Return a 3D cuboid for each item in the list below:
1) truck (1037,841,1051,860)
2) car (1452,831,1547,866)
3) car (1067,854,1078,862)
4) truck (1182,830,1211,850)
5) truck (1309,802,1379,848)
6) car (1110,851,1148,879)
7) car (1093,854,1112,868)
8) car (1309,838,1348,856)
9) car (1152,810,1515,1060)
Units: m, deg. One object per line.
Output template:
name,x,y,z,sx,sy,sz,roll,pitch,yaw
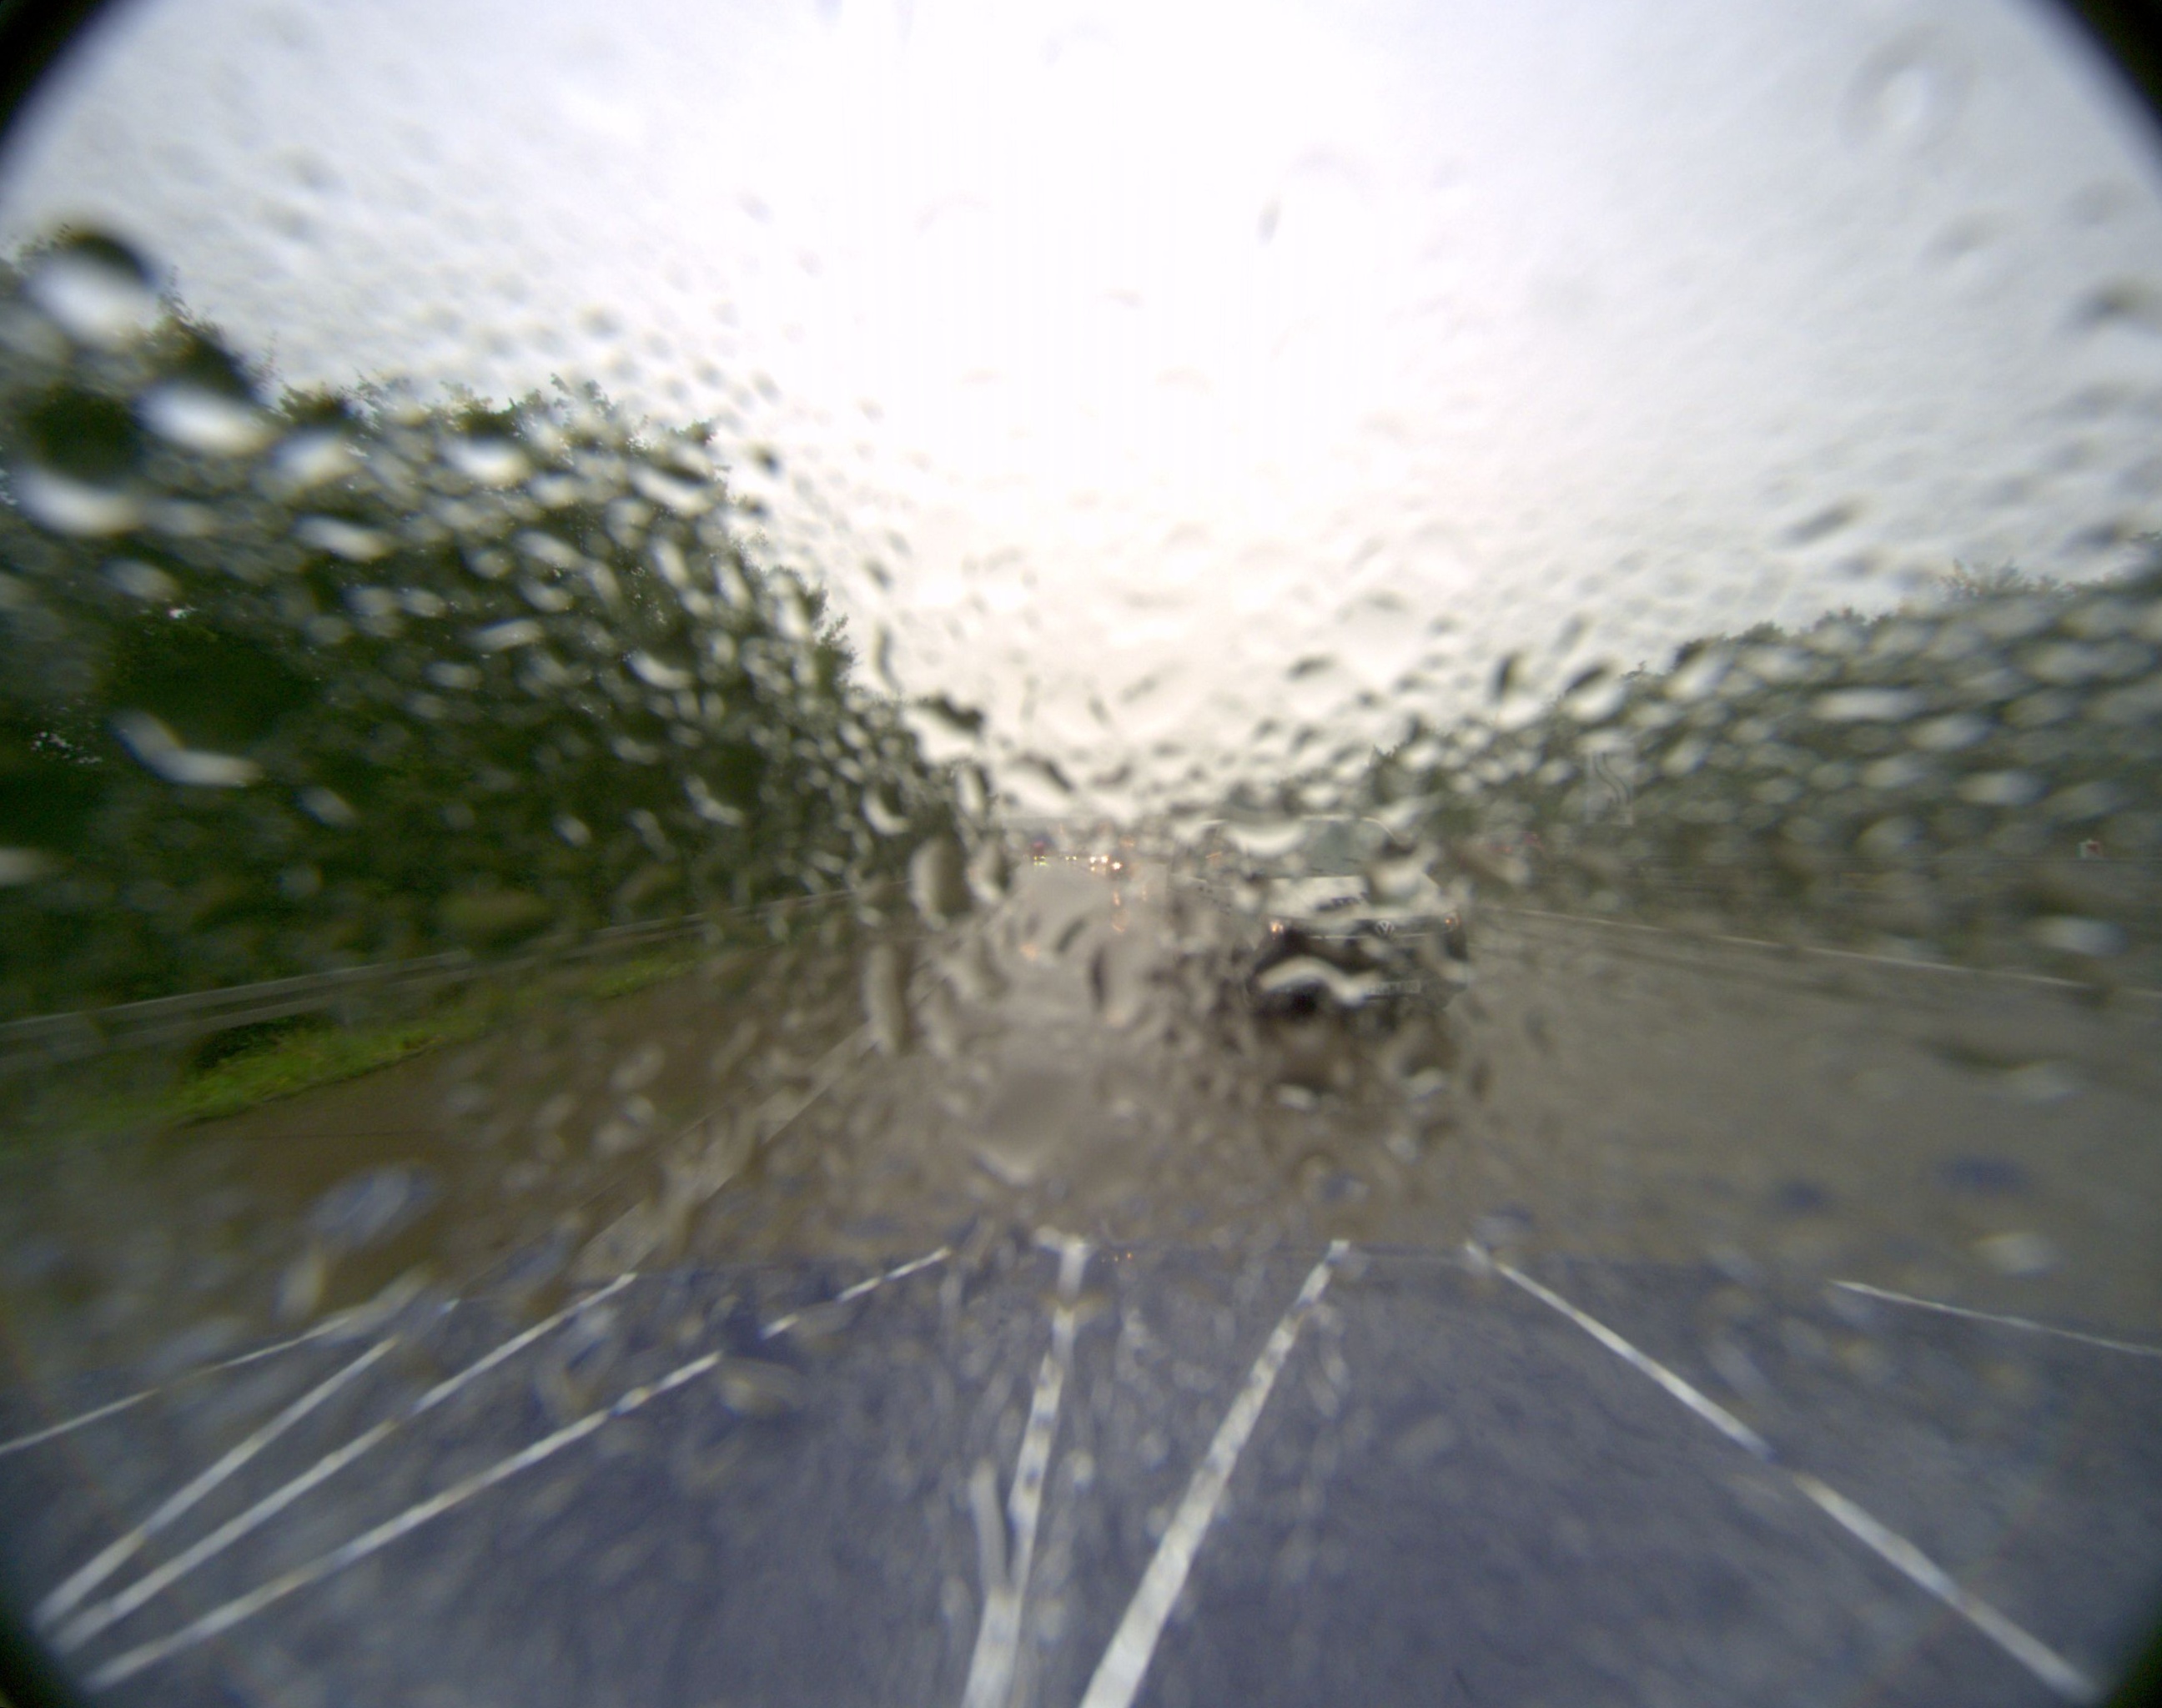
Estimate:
truck,-8.454,-0.784,174.139,3.059,3.994,10.041,0,-2,-3
car,20.773,-0.258,38.016,1.757,1.523,5.270,-3,0,0
car,-1.567,0.713,144.597,1.934,1.426,4.518,0,1,1
truck,20.130,-2.391,132.651,2.781,3.296,11.512,-3,0,-2
truck,23.253,-2.419,67.837,2.591,3.679,9.798,-3,0,-1
car,2.595,0.548,42.144,1.934,1.426,4.518,0,1,1
car,2.290,0.726,82.164,1.934,1.426,4.517,0,1,0
car,20.502,-0.556,63.106,1.757,1.331,4.424,-3,0,0
car,2.202,0.609,8.344,1.905,1.883,5.040,-1,0,-5
